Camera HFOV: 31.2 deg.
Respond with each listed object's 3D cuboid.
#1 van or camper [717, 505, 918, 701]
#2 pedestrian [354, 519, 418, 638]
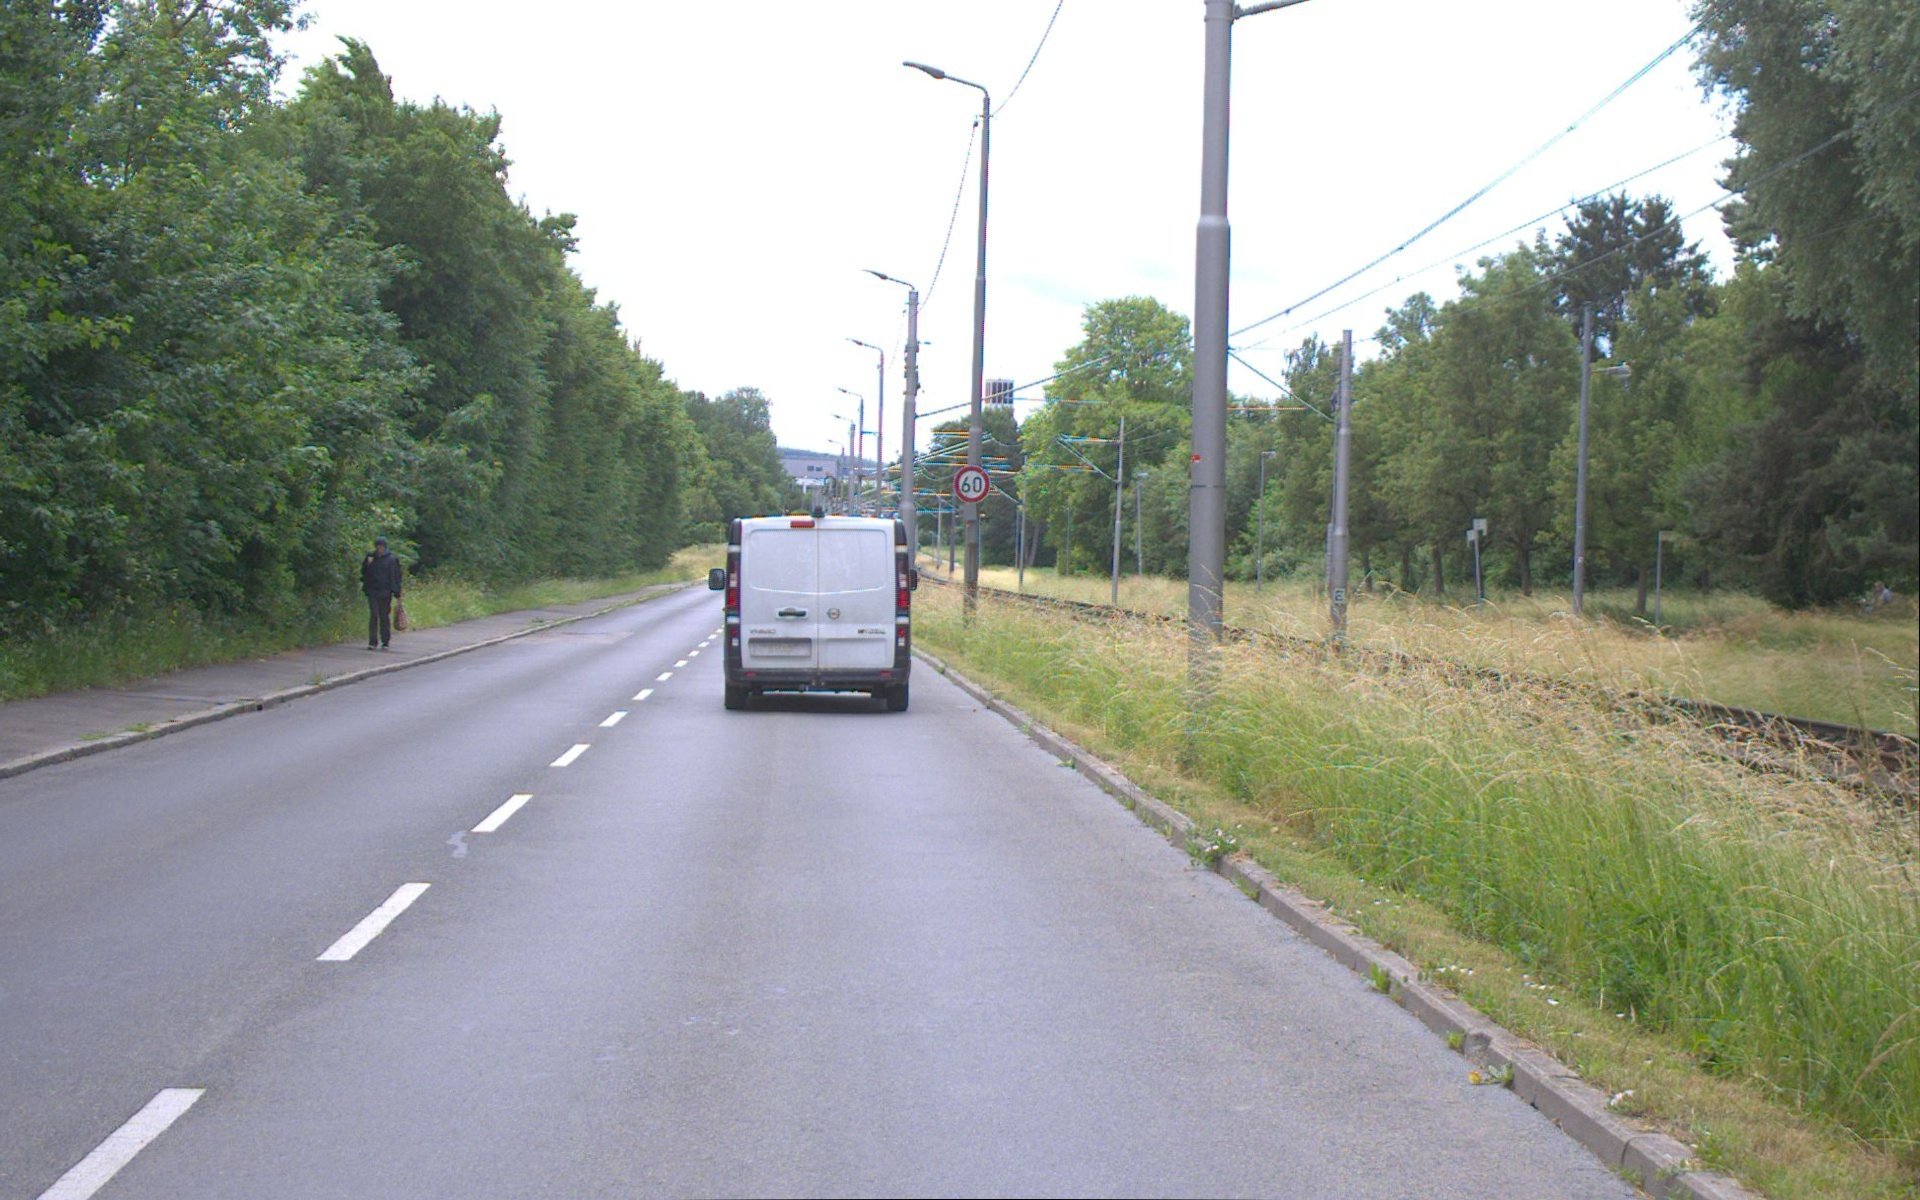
[{"bbox_3d":[-1.521,0.011,35.380,1.942,1.890,4.285,0,0,-4],"label":"van or camper"},{"bbox_3d":[-8.603,-0.330,51.529,0.867,1.763,0.789,-1,1,-6],"label":"pedestrian"}]
